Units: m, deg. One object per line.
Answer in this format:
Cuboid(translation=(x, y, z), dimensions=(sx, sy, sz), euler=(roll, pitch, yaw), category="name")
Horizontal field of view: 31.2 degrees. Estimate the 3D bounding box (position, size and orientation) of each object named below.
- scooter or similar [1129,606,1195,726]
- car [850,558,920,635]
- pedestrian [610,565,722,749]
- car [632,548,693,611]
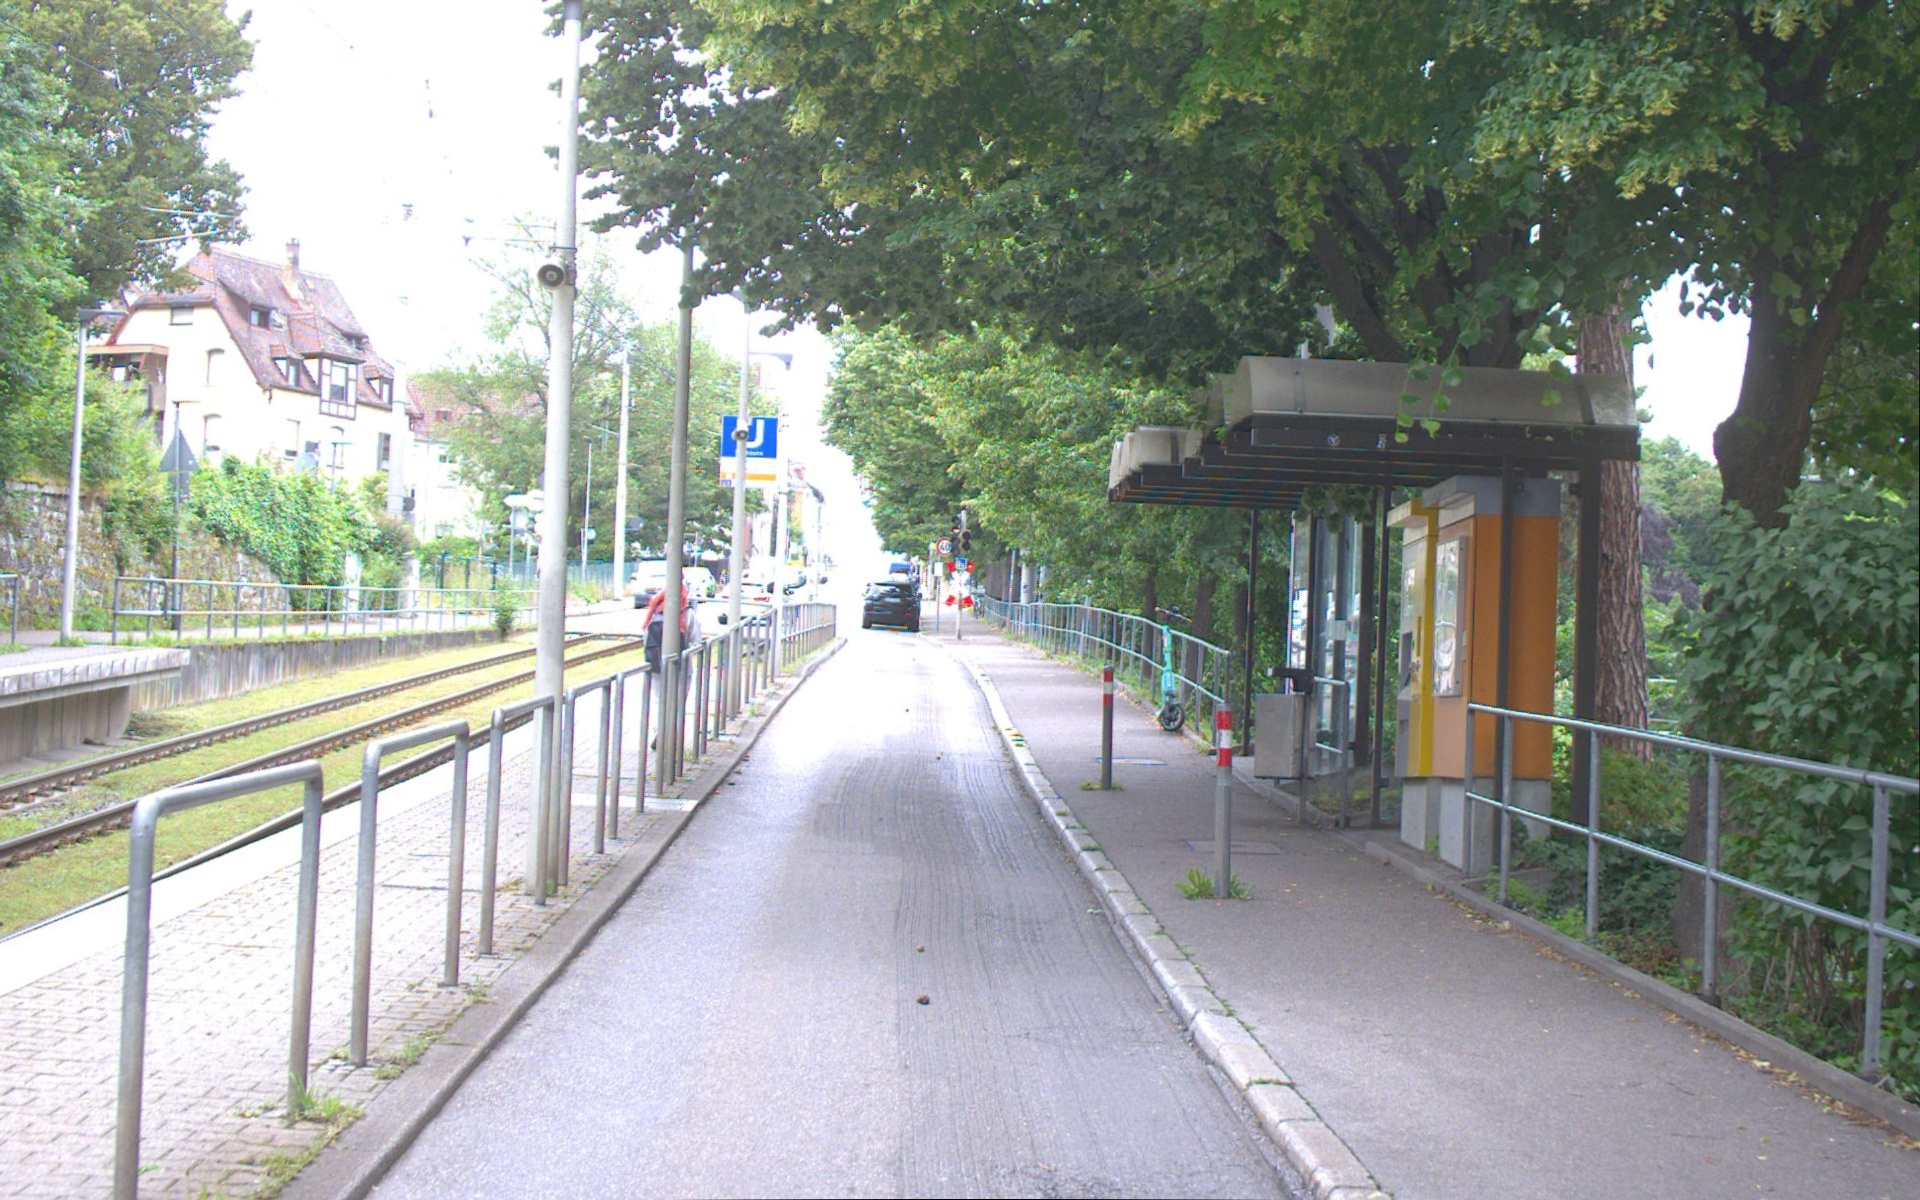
Cuboid(translation=(2.008, 0.665, 34.240), dimensions=(0.342, 1.153, 1.147), euler=(6, -2, -7), category="scooter or similar")
Cuboid(translation=(-2.426, -0.095, 110.774), dimensions=(1.993, 2.138, 4.000), euler=(5, -2, -1), category="car")
Cuboid(translation=(-2.392, 0.459, 28.054), dimensions=(0.742, 1.404, 0.747), euler=(5, 2, -1), category="pedestrian")
Cuboid(translation=(-11.785, -0.809, 136.400), dimensions=(1.993, 2.138, 4.000), euler=(5, -2, -1), category="car")
